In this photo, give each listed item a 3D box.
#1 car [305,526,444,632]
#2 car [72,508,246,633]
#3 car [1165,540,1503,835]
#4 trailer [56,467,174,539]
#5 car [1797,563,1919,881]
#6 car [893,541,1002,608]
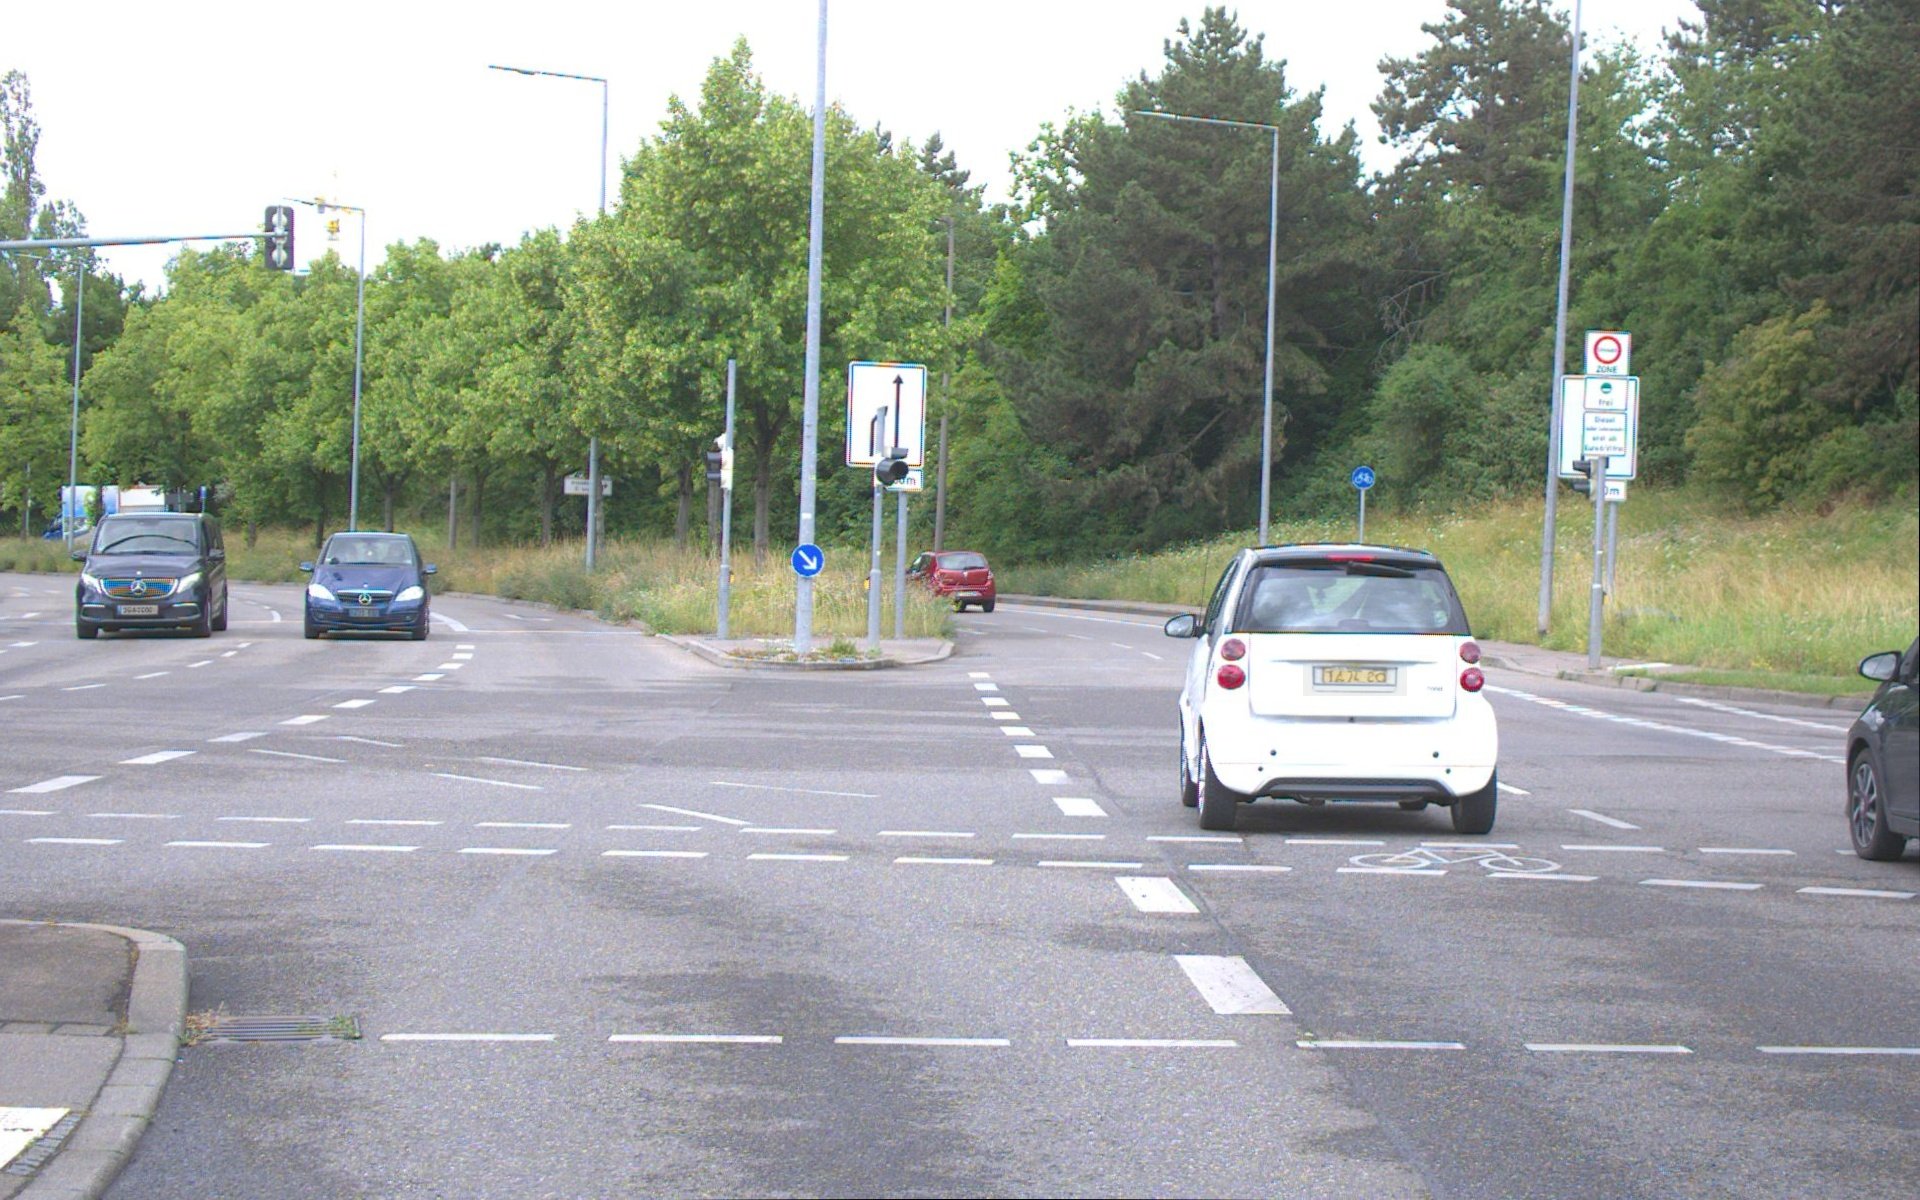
[{"bbox_3d":[-8.739,-0.324,51.506,1.735,1.503,3.661,1,0,-5],"label":"car"},{"bbox_3d":[-12.086,-0.470,52.151,1.887,1.806,5.093,0,1,-5],"label":"car"},{"bbox_3d":[2.025,0.445,19.252,1.592,1.511,2.766,1,0,0],"label":"car"},{"bbox_3d":[-36.435,-4.139,148.181,2.747,3.002,6.086,1,1,-37],"label":"trailer"},{"bbox_3d":[5.192,0.567,15.963,1.613,1.448,3.882,1,0,0],"label":"car"},{"bbox_3d":[-0.340,-0.640,85.330,1.784,1.598,3.888,1,0,-15],"label":"car"}]
